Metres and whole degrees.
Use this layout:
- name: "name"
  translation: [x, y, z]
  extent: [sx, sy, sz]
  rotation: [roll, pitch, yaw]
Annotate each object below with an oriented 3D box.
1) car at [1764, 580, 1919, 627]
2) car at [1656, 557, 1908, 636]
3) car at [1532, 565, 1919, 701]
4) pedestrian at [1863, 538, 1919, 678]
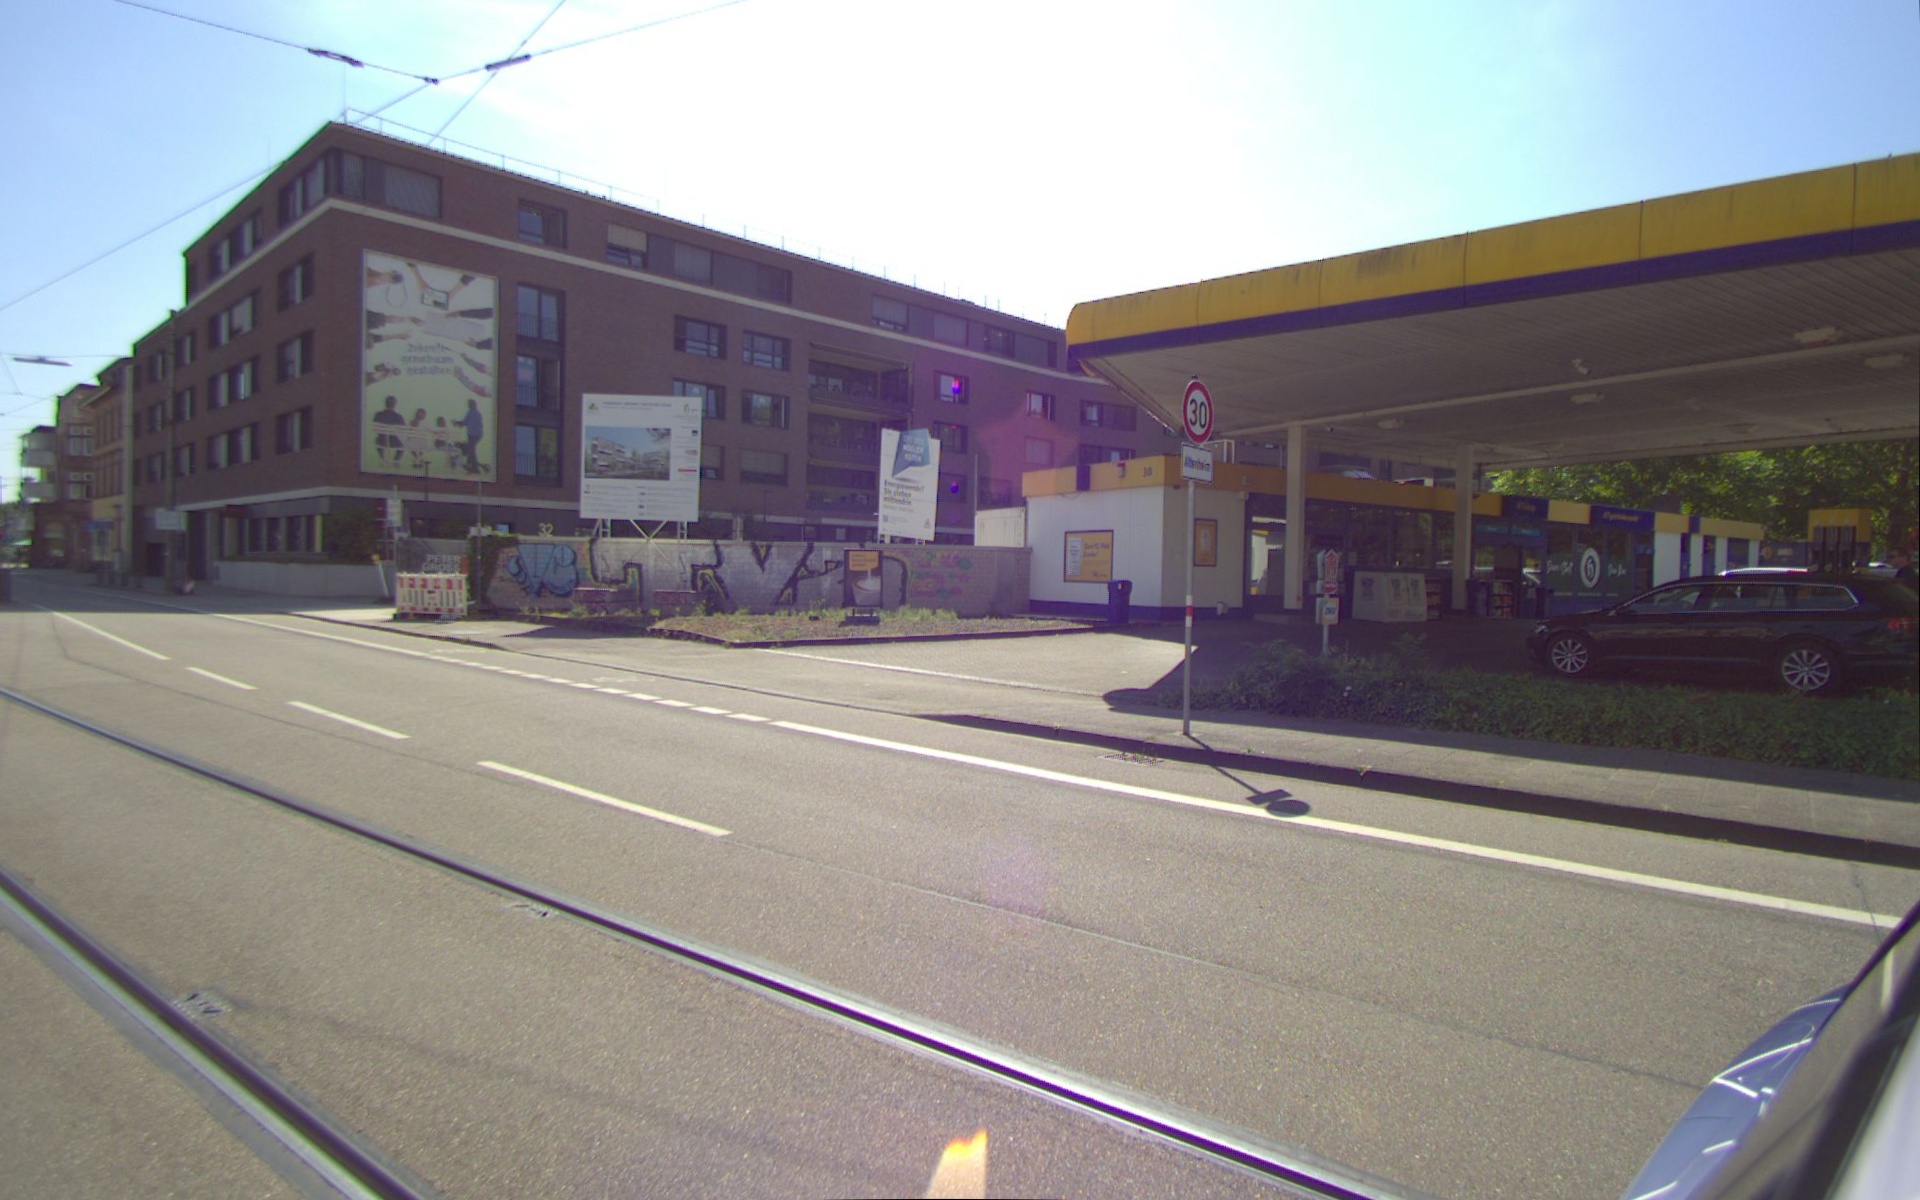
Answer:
- name: "car"
  translation: [29.959, 0.077, 34.123]
  extent: [1.727, 1.377, 4.135]
  rotation: [0, 3, -34]
- name: "car"
  translation: [23.390, -0.193, 29.052]
  extent: [1.728, 2.007, 5.308]
  rotation: [0, 3, -35]
- name: "car"
  translation: [10.433, 0.307, 13.690]
  extent: [1.728, 1.473, 4.413]
  rotation: [-4, 3, -32]
- name: "pedestrian"
  translation: [12.195, 0.095, 13.010]
  extent: [0.741, 1.746, 0.847]
  rotation: [2, 2, 37]
